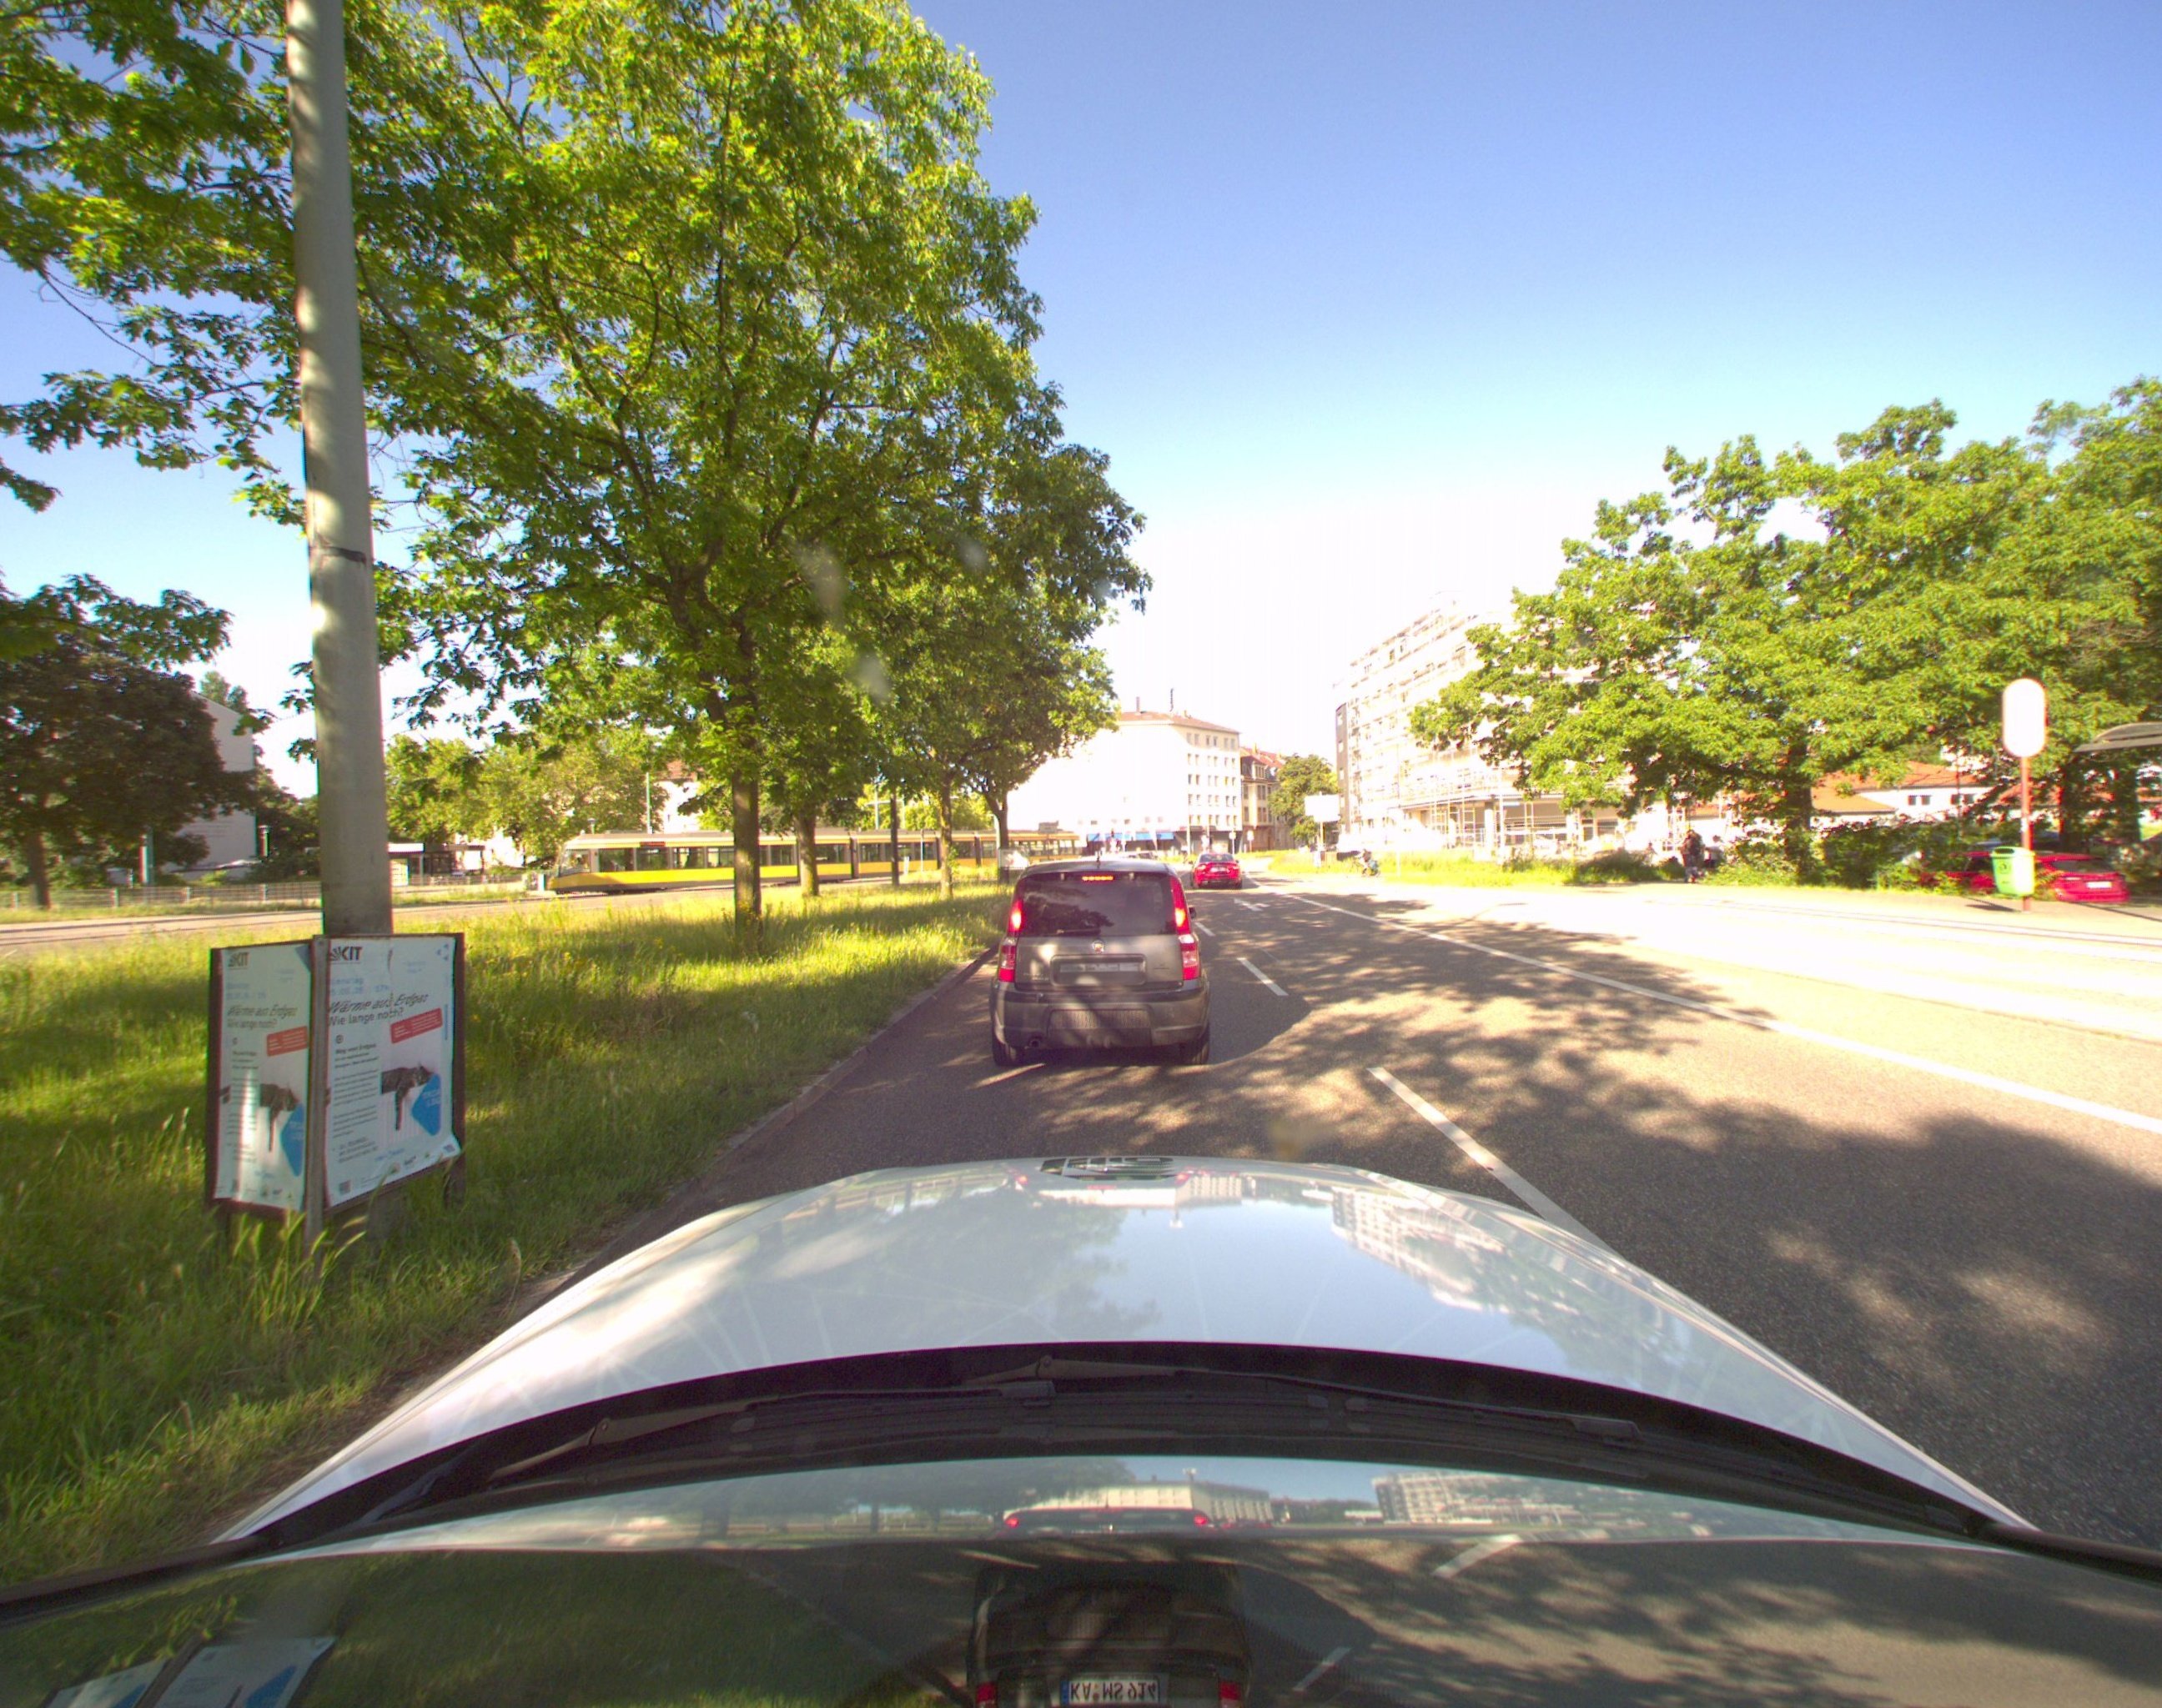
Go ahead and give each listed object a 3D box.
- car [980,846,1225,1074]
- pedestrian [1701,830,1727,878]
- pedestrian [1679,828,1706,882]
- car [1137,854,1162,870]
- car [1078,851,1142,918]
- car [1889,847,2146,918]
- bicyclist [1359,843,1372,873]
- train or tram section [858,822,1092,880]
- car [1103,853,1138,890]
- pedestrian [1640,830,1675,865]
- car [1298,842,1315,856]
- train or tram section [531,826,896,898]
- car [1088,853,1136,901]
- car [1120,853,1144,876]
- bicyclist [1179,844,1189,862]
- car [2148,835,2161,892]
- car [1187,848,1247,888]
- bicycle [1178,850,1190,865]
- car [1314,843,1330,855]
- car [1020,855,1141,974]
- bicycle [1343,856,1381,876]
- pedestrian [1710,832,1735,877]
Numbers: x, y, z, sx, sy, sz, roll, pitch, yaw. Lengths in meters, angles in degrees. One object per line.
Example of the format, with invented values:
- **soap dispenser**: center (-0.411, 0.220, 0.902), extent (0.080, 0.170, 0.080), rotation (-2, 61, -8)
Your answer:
- **car**: center (0.209, 0.707, 7.541), extent (1.622, 1.508, 4.002), rotation (-2, 0, 2)
- **pedestrian**: center (19.365, 0.004, 24.914), extent (0.516, 1.447, 0.595), rotation (-2, 0, 28)
- **pedestrian**: center (18.588, 0.014, 24.764), extent (0.516, 1.612, 0.595), rotation (-2, 0, 28)
- **car**: center (4.871, 0.577, 57.722), extent (1.133, 1.064, 2.735), rotation (-2, 0, 19)
- **car**: center (0.730, 0.701, 20.800), extent (1.458, 1.508, 3.506), rotation (-2, 0, 2)
- **car**: center (21.991, 0.599, 19.380), extent (1.747, 1.486, 3.743), rotation (-2, 0, -2)
- **bicyclist**: center (14.515, 0.190, 41.604), extent (0.579, 1.493, 0.553), rotation (-2, 0, 17)
- **train or tram section**: center (-7.100, -0.435, 62.091), extent (3.264, 3.770, 20.941), rotation (-2, 0, 40)
- **car**: center (1.606, 0.695, 33.973), extent (1.351, 1.449, 3.267), rotation (-2, 0, 2)
- **pedestrian**: center (27.326, -0.310, 38.612), extent (0.888, 1.653, 0.984), rotation (-2, 0, -10)
- **car**: center (24.921, -0.539, 90.002), extent (1.669, 1.449, 3.588), rotation (-2, 0, 18)
- **train or tram section**: center (-20.720, 0.193, 48.357), extent (19.482, 3.513, 3.268), rotation (-2, 0, -39)
- **car**: center (1.034, 0.730, 27.398), extent (1.458, 1.424, 3.383), rotation (-2, 1, 2)
- **car**: center (3.101, 0.622, 49.690), extent (1.351, 1.281, 2.877), rotation (-2, 0, 2)
- **bicyclist**: center (8.492, -0.089, 67.401), extent (0.739, 1.438, 0.845), rotation (0, -1, 1)
- **car**: center (29.866, 0.219, 20.184), extent (1.911, 1.486, 3.725), rotation (-2, 0, -17)
- **car**: center (5.341, 0.516, 32.462), extent (1.879, 1.428, 4.391), rotation (-1, 1, 3)
- **bicycle**: center (8.516, 0.288, 67.488), extent (0.706, 1.198, 2.520), rotation (0, -1, 1)
- **car**: center (27.747, -0.537, 93.564), extent (1.514, 1.314, 3.304), rotation (-2, 0, 20)
- **car**: center (0.053, 0.751, 11.769), extent (1.458, 1.401, 3.395), rotation (-2, 0, 2)
- **bicycle**: center (14.374, 0.614, 41.647), extent (1.776, 0.945, 0.562), rotation (-2, 0, 16)
- **pedestrian**: center (20.904, 0.015, 26.558), extent (0.516, 1.447, 0.595), rotation (-2, 0, 28)
